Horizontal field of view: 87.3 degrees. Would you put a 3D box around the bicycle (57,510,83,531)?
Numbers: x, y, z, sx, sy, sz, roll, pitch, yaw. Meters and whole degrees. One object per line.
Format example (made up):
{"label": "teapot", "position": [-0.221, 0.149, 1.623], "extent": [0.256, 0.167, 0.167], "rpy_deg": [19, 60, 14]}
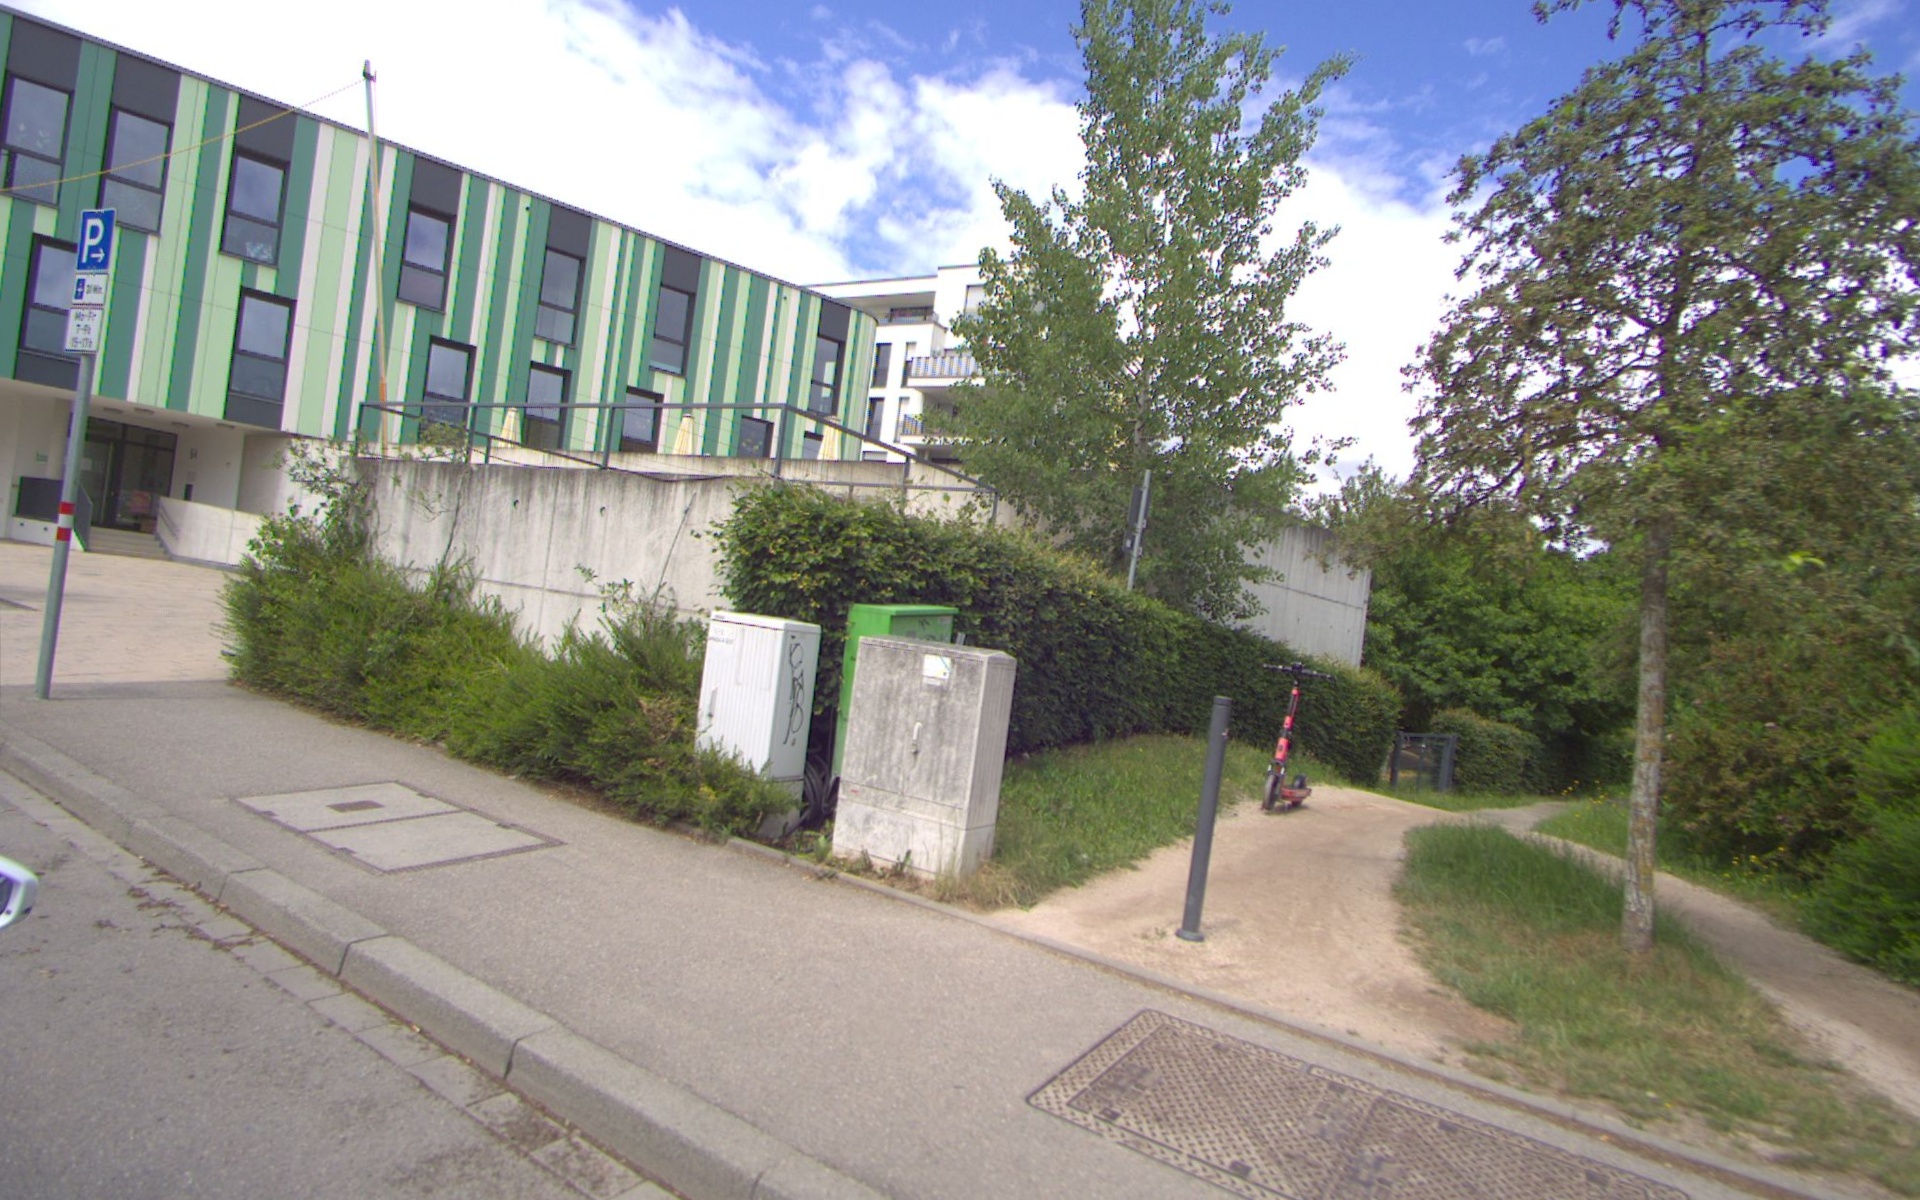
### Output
{"label": "bicycle", "position": [-22.591, -2.021, 25.530], "extent": [0.787, 0.458, 0.306], "rpy_deg": [7, 0, 36]}

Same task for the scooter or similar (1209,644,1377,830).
{"label": "scooter or similar", "position": [2.855, 1.135, 8.551], "extent": [0.811, 1.341, 1.393], "rpy_deg": [8, 0, 37]}
